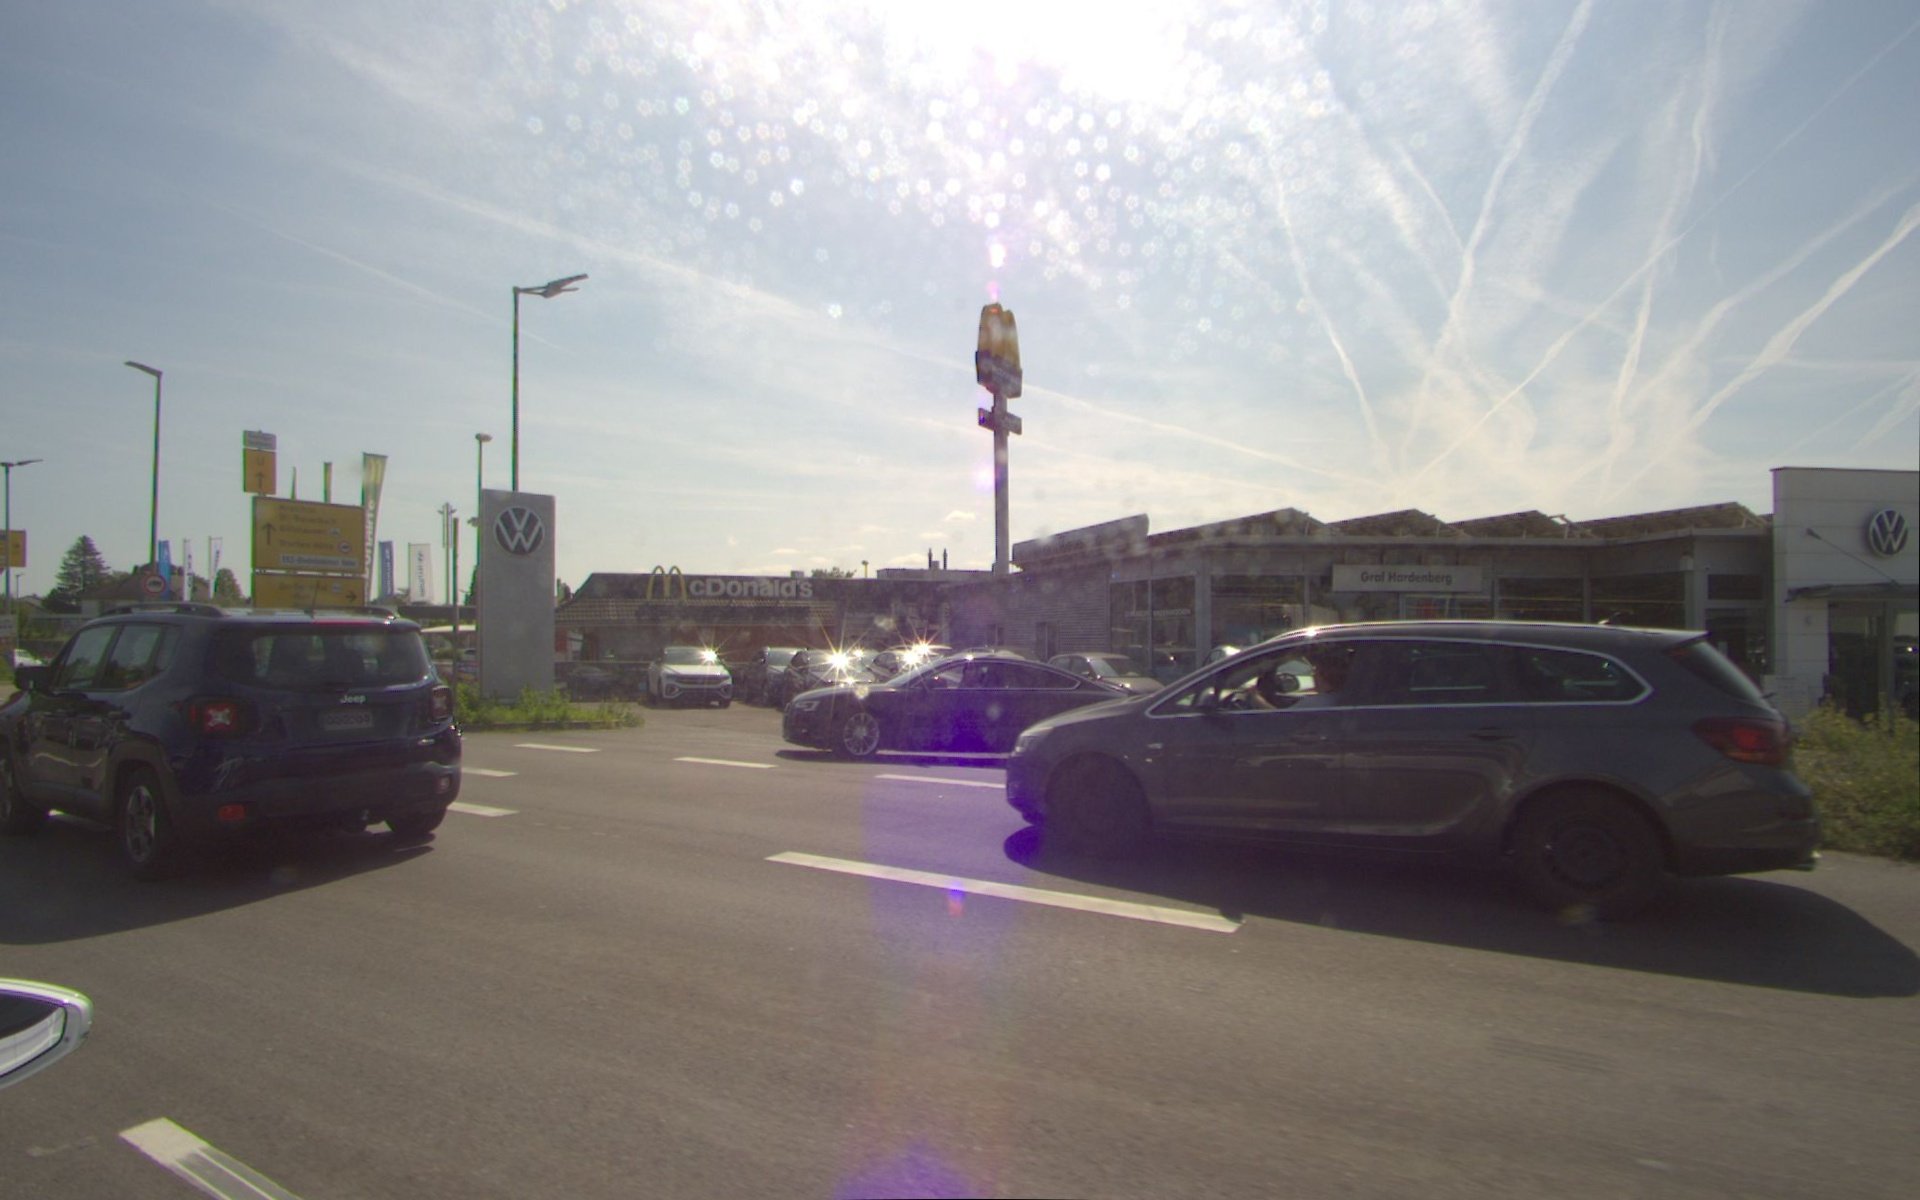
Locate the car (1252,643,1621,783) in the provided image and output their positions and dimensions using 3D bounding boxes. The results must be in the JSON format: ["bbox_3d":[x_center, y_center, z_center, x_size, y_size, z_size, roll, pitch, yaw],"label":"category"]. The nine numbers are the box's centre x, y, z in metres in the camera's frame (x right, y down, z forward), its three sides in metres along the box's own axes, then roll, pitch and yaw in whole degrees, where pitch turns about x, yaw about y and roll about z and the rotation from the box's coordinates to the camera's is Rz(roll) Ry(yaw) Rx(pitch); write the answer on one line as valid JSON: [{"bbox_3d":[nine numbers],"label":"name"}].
[{"bbox_3d":[6.071,1.431,13.205,3.998,1.675,1.777,-1,-3,7],"label":"car"}]

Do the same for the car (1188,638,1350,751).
[{"bbox_3d":[5.335,1.569,17.826,1.741,1.692,4.026,0,-1,2],"label":"car"}]

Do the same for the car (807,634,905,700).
[{"bbox_3d":[-3.073,1.852,28.775,1.747,1.692,4.158,0,-1,-22],"label":"car"}]

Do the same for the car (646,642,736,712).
[{"bbox_3d":[-7.252,1.965,26.723,1.830,1.596,4.221,0,-1,-22],"label":"car"}]

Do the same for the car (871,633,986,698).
[{"bbox_3d":[-1.052,1.853,29.662,1.881,1.692,4.804,0,-1,-22],"label":"car"}]

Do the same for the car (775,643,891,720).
[{"bbox_3d":[-3.101,1.853,23.754,1.747,1.552,4.078,0,-1,-22],"label":"car"}]

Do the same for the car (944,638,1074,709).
[{"bbox_3d":[1.131,1.749,24.962,1.747,1.538,3.949,0,-1,-22],"label":"car"}]

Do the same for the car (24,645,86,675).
[{"bbox_3d":[-51.521,3.409,57.099,1.756,1.594,3.692,3,-4,-29],"label":"car"}]

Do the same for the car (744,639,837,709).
[{"bbox_3d":[-4.718,1.946,27.472,1.747,1.692,3.899,0,-1,-22],"label":"car"}]

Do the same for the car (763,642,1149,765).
[{"bbox_3d":[-0.120,1.391,13.177,4.729,1.347,1.967,3,-6,-13],"label":"car"}]

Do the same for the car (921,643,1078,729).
[{"bbox_3d":[0.710,1.715,21.082,1.720,1.511,4.252,0,-1,-22],"label":"car"}]

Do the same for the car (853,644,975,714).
[{"bbox_3d":[-1.247,1.877,24.893,1.767,1.469,4.143,0,-1,-22],"label":"car"}]

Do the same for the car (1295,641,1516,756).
[{"bbox_3d":[7.695,1.630,17.759,1.884,1.692,4.000,0,-1,-5],"label":"car"}]

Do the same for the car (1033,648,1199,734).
[{"bbox_3d":[3.114,1.794,20.769,1.721,1.495,3.785,0,-1,-22],"label":"car"}]

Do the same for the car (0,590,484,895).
[{"bbox_3d":[-5.452,0.823,7.298,3.943,1.676,1.767,-1,-1,32],"label":"car"}]

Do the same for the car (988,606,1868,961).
[{"bbox_3d":[2.569,0.845,6.350,4.384,1.539,1.990,-1,-1,31],"label":"car"}]
